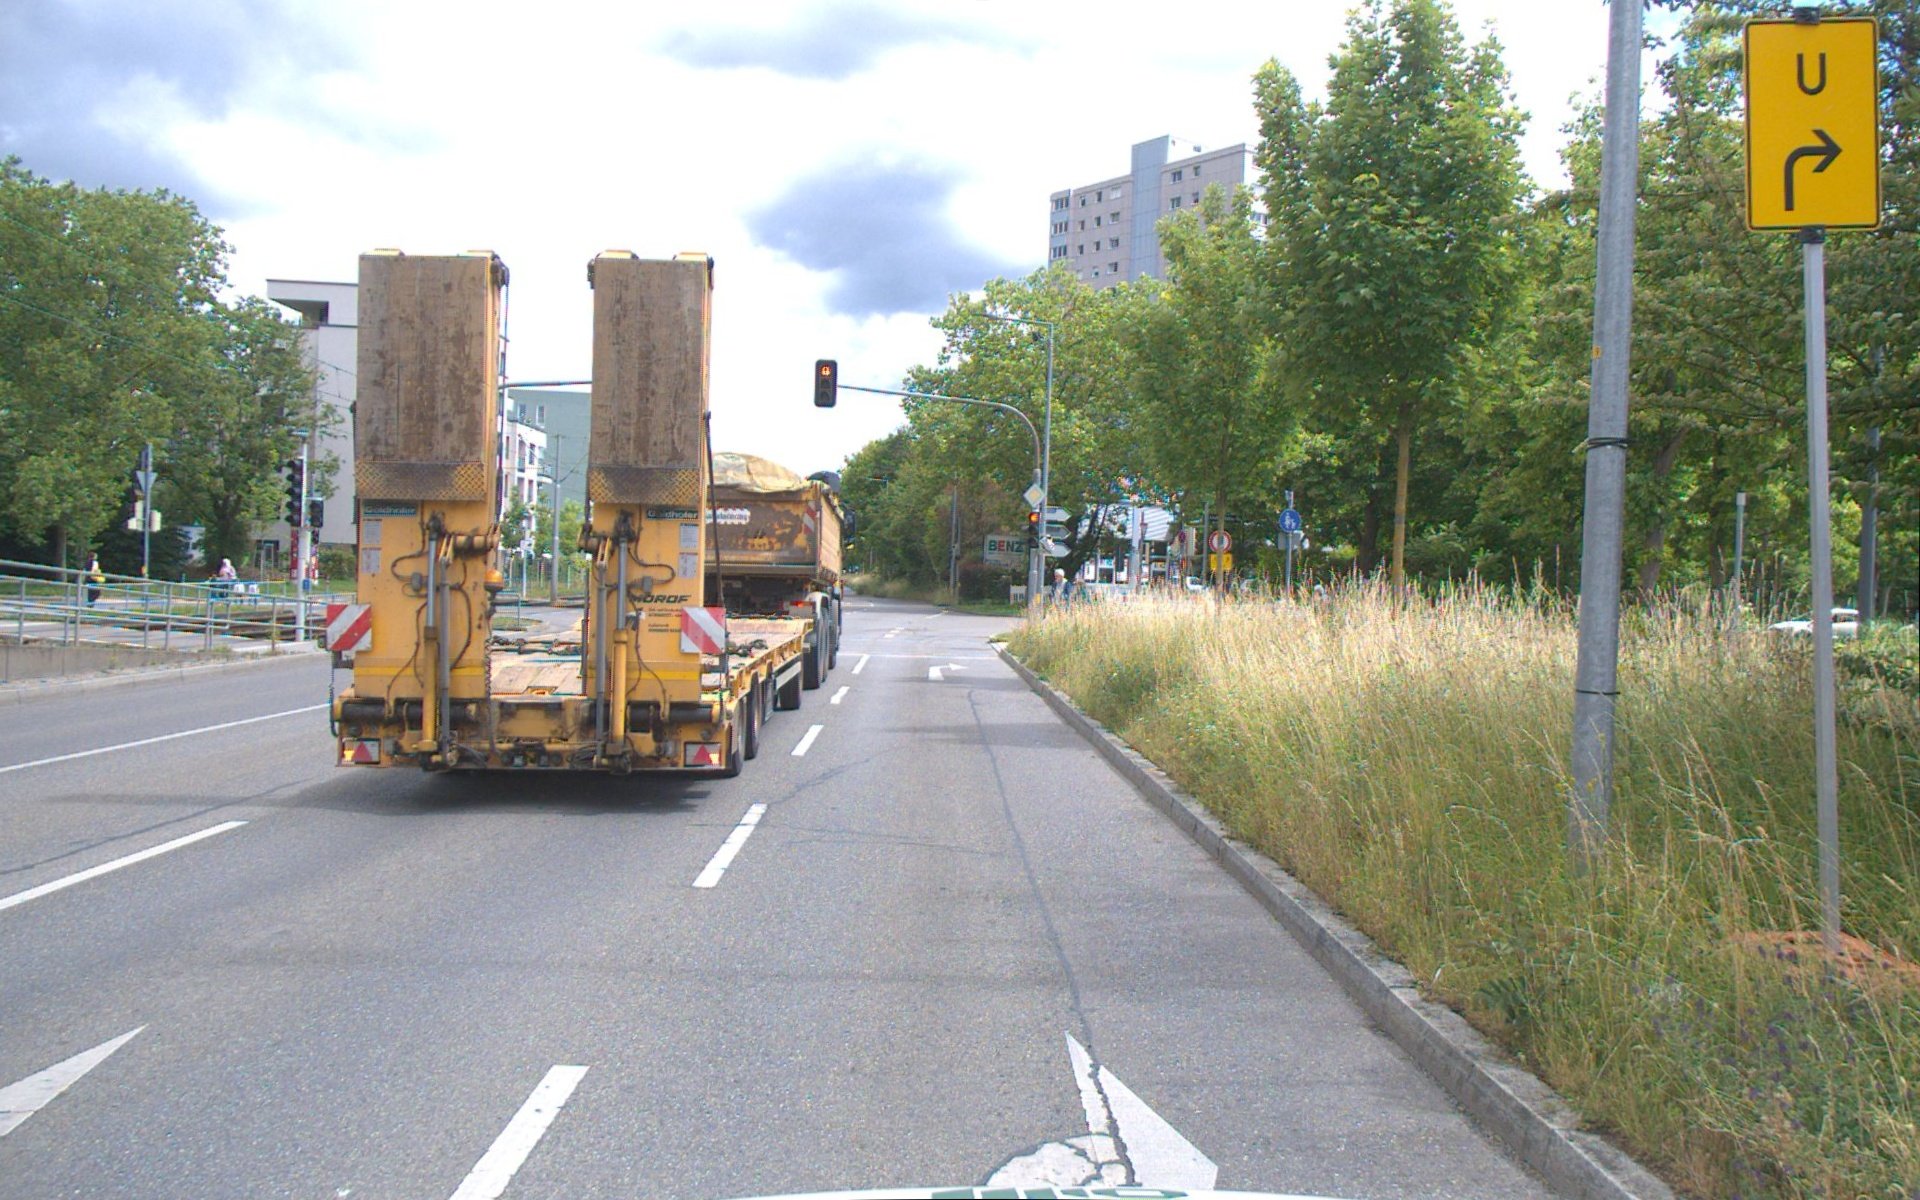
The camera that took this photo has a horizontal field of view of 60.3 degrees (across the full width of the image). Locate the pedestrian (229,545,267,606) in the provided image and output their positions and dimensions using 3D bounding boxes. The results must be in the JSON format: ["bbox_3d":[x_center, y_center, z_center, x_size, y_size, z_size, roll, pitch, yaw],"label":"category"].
[{"bbox_3d":[-25.717,-0.890,59.740,0.896,2.170,0.935,2,1,-2],"label":"pedestrian"}]

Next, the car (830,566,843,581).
[{"bbox_3d":[-16.907,-3.597,226.425,1.657,1.959,3.995,2,1,-6],"label":"car"}]

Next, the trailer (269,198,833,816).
[{"bbox_3d":[-2.895,-0.646,15.612,2.674,3.620,11.251,2,1,-1],"label":"trailer"}]

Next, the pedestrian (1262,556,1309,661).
[{"bbox_3d":[6.459,0.166,32.824,0.659,2.049,0.633,2,0,-11],"label":"pedestrian"}]

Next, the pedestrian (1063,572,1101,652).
[{"bbox_3d":[2.637,0.256,35.732,0.614,1.681,0.562,2,0,25],"label":"pedestrian"}]

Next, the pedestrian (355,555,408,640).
[{"bbox_3d":[-11.951,-0.060,34.179,0.803,1.697,0.683,2,1,-1],"label":"pedestrian"}]

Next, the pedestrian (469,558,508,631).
[{"bbox_3d":[-11.121,-0.134,39.025,0.668,1.699,0.823,2,1,-2],"label":"pedestrian"}]

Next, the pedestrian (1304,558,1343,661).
[{"bbox_3d":[7.354,0.192,33.467,0.551,2.049,0.490,2,0,-11],"label":"pedestrian"}]

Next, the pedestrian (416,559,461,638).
[{"bbox_3d":[-11.120,-0.038,35.316,0.668,1.630,0.823,2,1,-2],"label":"pedestrian"}]

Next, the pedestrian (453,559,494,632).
[{"bbox_3d":[-11.153,-0.106,37.929,0.668,1.630,0.823,2,1,-2],"label":"pedestrian"}]

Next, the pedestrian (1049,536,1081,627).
[{"bbox_3d":[2.398,-0.412,37.808,0.551,2.049,0.490,2,0,-11],"label":"pedestrian"}]

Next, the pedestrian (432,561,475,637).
[{"bbox_3d":[-11.123,-0.030,36.316,0.668,1.630,0.823,2,1,-2],"label":"pedestrian"}]

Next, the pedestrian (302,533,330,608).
[{"bbox_3d":[-24.679,-1.137,63.376,0.674,2.822,0.741,2,1,-2],"label":"pedestrian"}]

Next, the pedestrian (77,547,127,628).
[{"bbox_3d":[-24.157,-0.358,46.565,0.896,2.243,0.882,2,1,-2],"label":"pedestrian"}]

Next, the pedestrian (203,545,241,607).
[{"bbox_3d":[-26.662,-0.867,59.759,0.896,2.170,0.935,2,1,-2],"label":"pedestrian"}]

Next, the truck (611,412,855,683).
[{"bbox_3d":[-3.179,-0.746,25.433,2.698,3.370,8.350,2,1,-2],"label":"truck"}]
